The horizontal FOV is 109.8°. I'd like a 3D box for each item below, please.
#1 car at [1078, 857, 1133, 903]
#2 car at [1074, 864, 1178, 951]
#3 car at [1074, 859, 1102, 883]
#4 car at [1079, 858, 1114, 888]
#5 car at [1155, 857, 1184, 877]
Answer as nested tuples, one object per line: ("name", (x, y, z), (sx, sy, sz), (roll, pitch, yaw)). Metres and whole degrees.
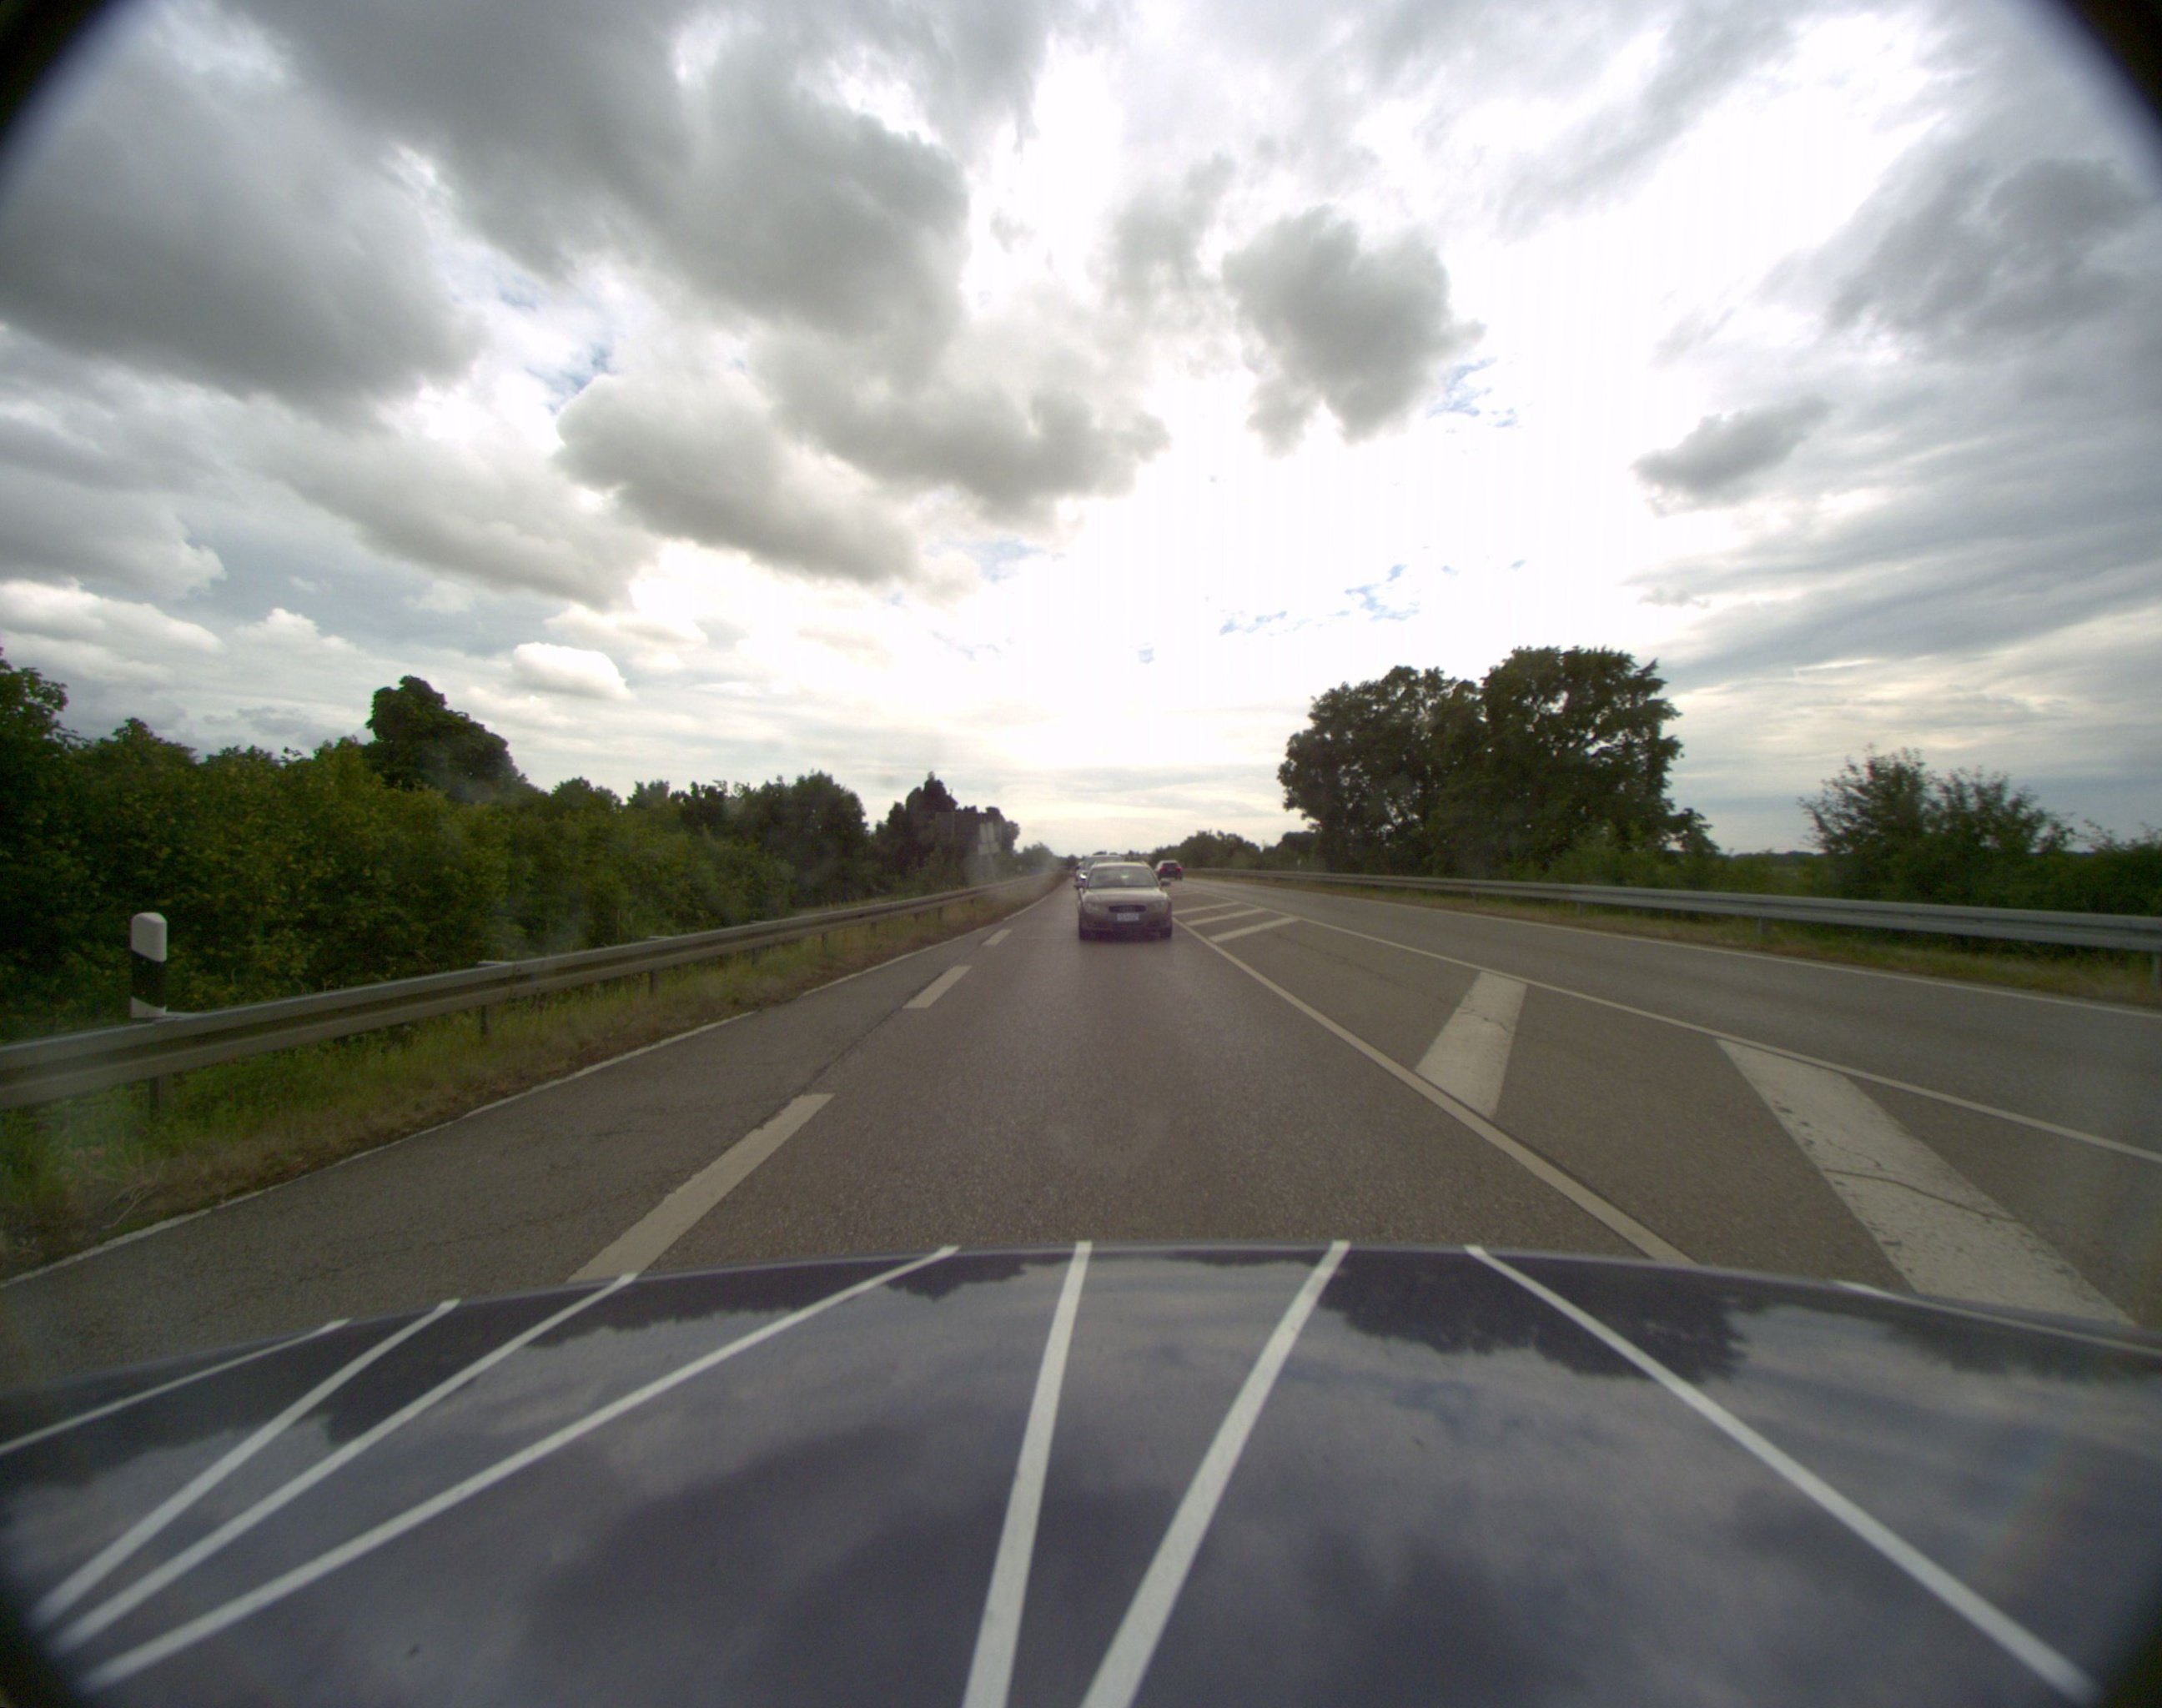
("car", (0.867, 0.899, 27.875), (1.834, 1.537, 4.035), (-1, 0, 1))
("car", (0.814, 0.957, 15.278), (1.784, 1.441, 4.035), (-1, 0, 1))
("car", (0.499, 1.122, 52.139), (1.834, 1.537, 4.035), (-1, 0, 1))
("car", (0.844, 1.006, 41.731), (1.834, 1.537, 4.035), (-1, 0, 1))
("car", (6.673, 0.981, 57.599), (1.675, 1.421, 4.258), (-1, 0, 0))
